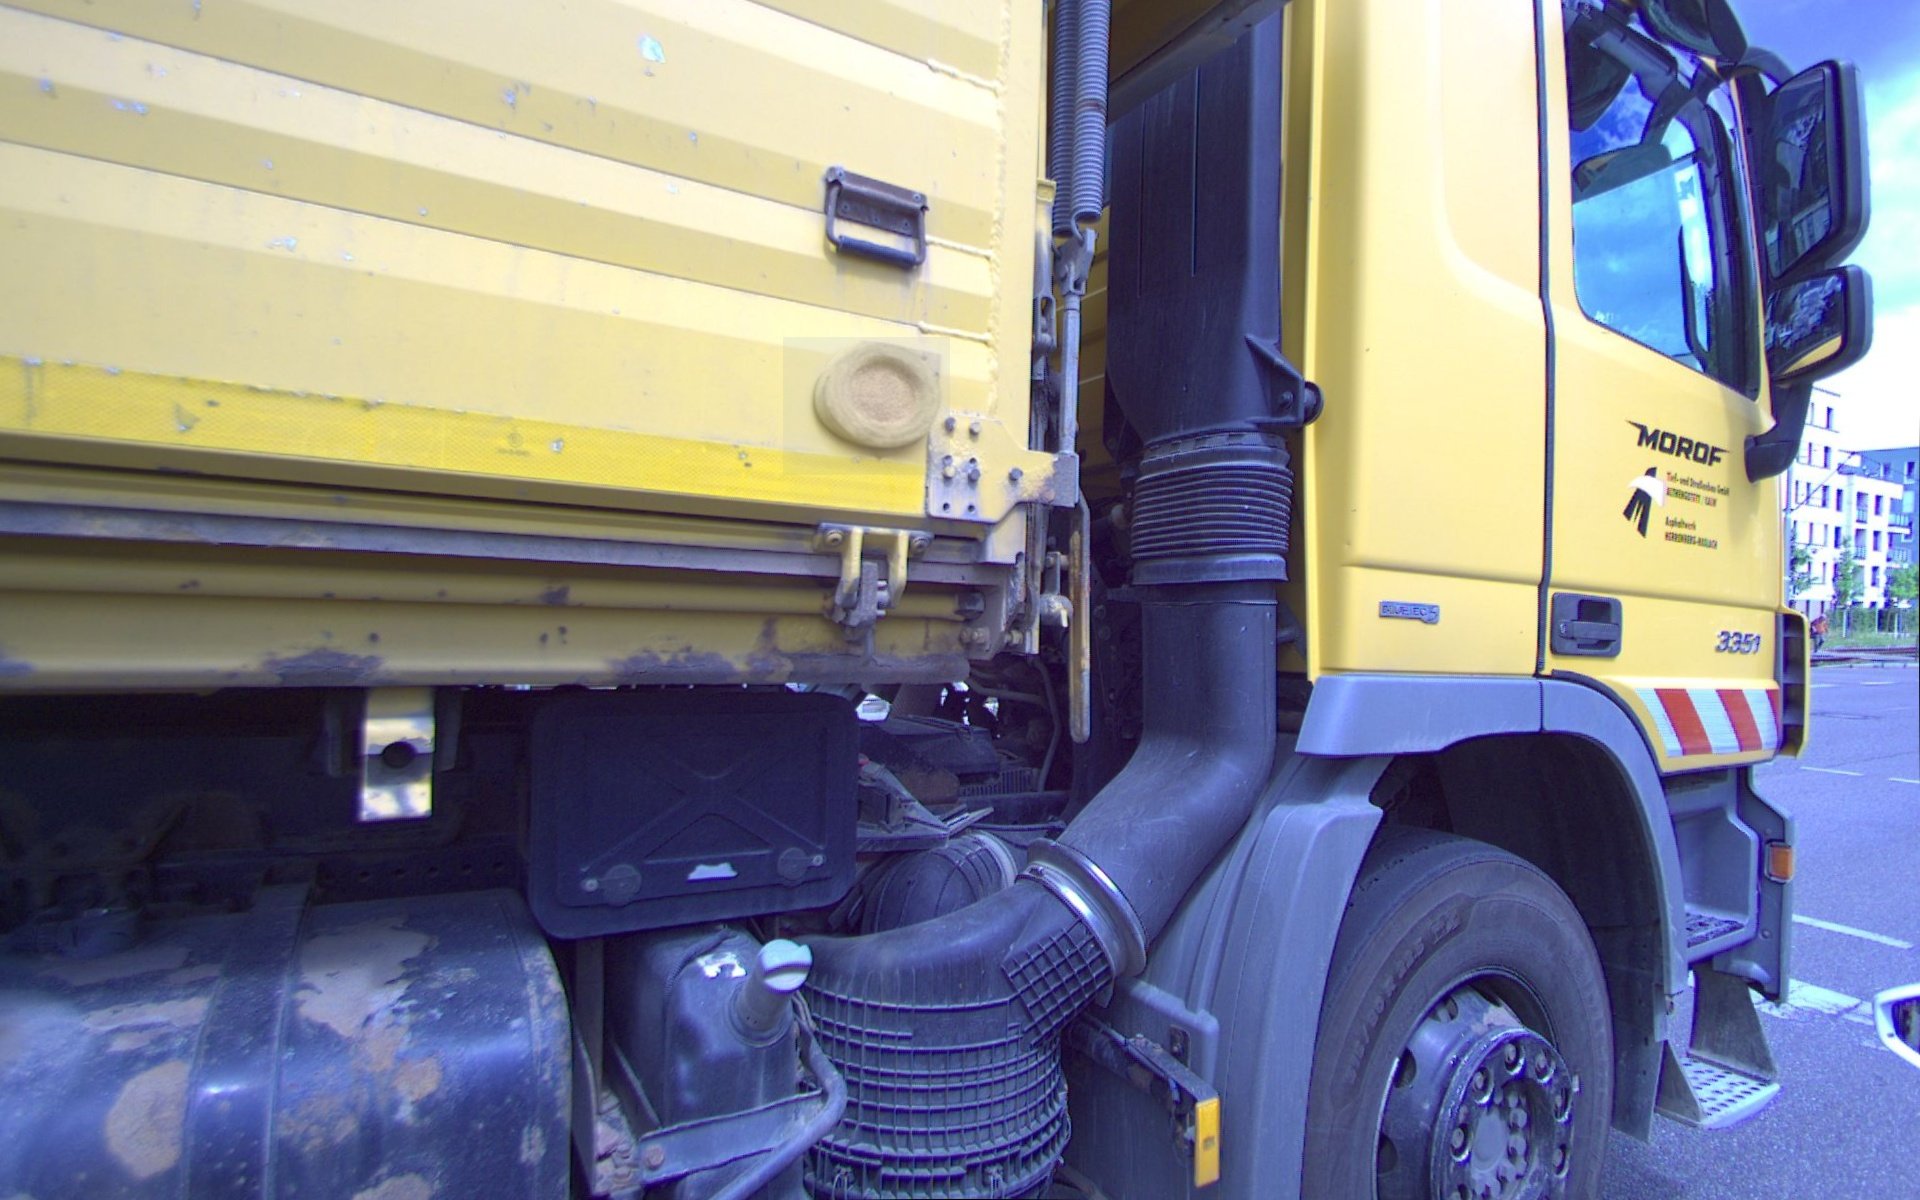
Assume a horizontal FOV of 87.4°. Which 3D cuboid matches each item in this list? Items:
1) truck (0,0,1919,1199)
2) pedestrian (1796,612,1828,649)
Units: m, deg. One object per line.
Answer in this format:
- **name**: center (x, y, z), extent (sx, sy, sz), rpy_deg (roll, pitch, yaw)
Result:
- **truck**: center (-1.728, -0.225, 1.668), extent (7.916, 3.439, 3.033), rpy_deg (1, 0, -32)
- **pedestrian**: center (35.468, 1.269, 41.827), extent (0.628, 1.536, 0.827), rpy_deg (1, 0, -30)
